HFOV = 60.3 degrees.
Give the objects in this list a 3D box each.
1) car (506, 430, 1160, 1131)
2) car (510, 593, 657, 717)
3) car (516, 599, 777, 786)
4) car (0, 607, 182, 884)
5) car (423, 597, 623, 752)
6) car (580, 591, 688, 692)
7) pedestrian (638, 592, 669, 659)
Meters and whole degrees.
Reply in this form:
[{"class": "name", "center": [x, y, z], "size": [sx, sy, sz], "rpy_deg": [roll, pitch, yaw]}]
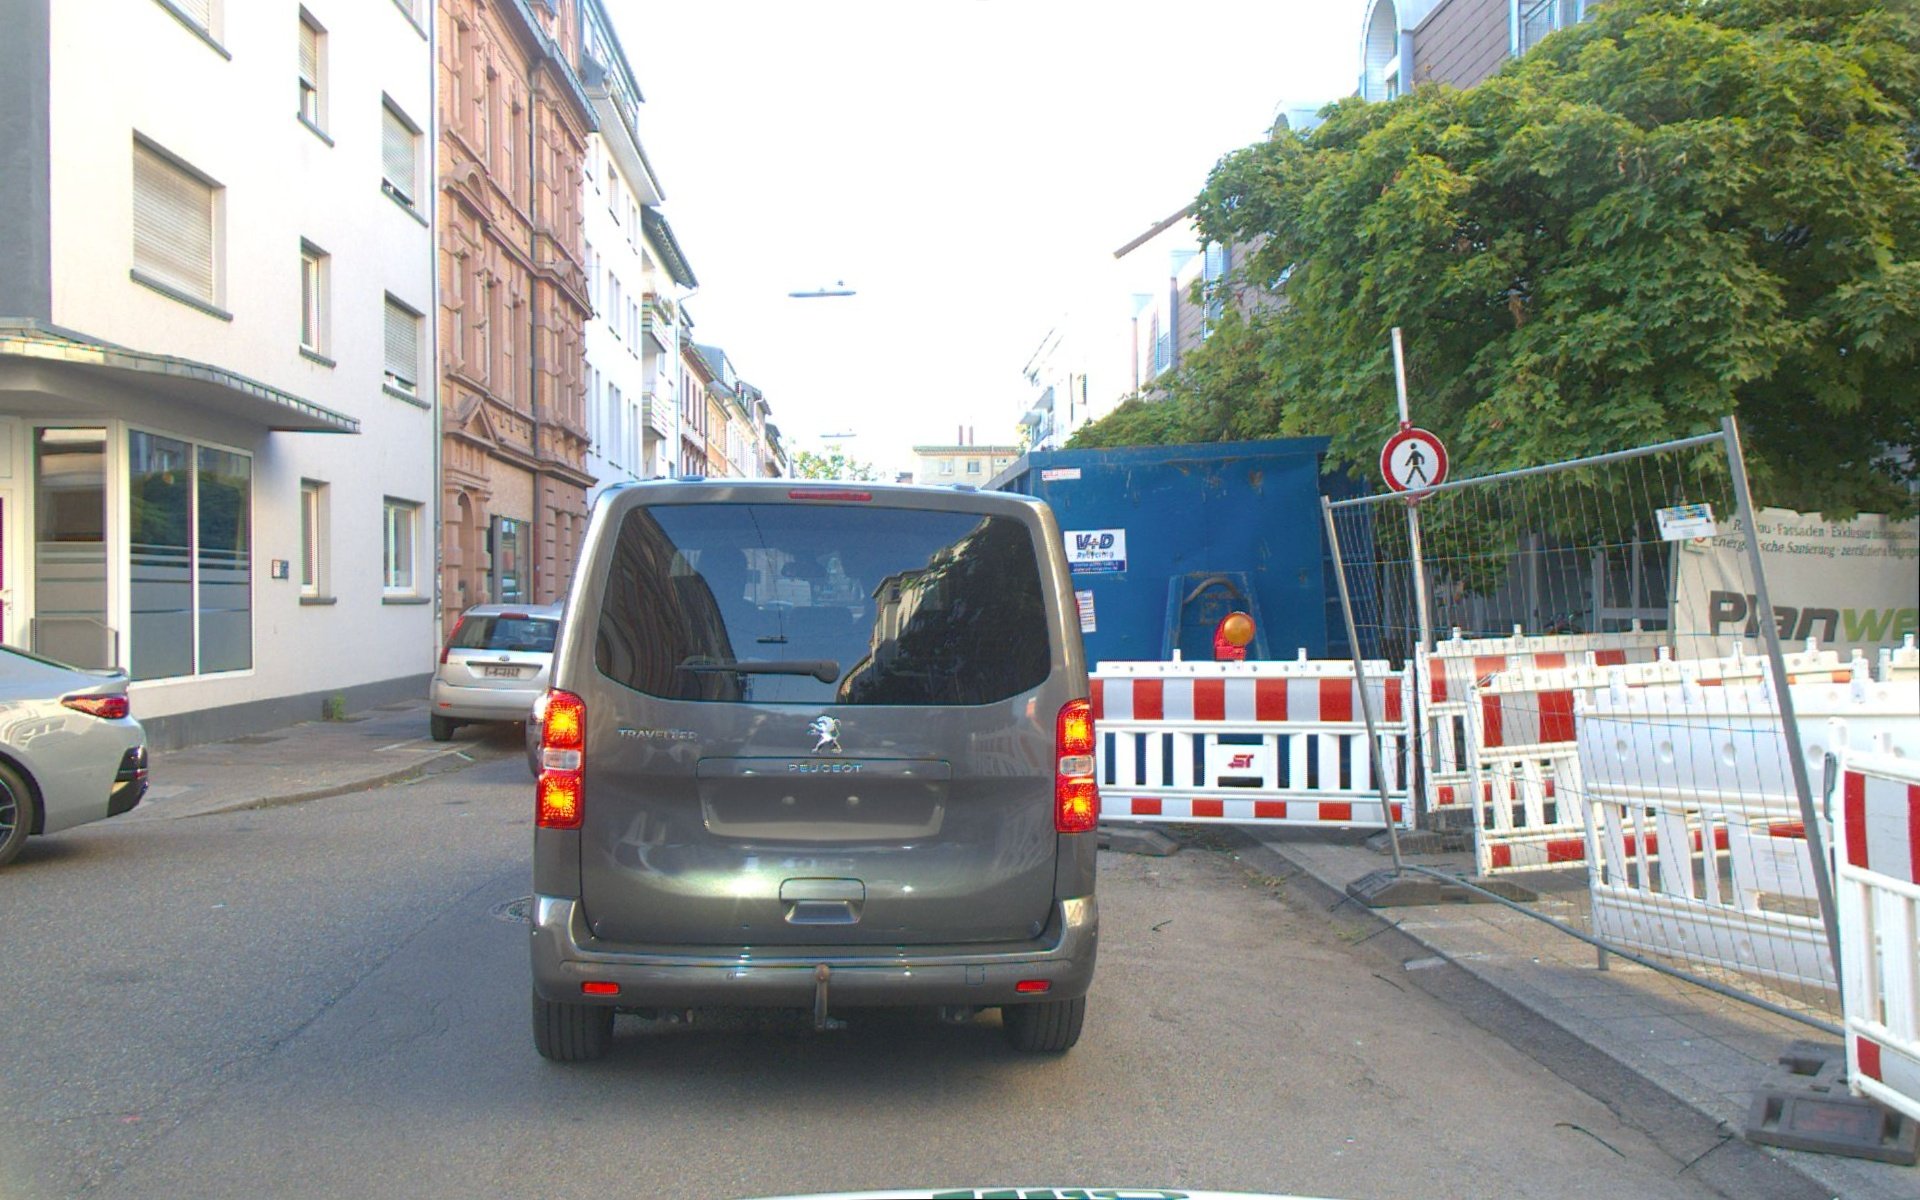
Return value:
[{"class": "car", "center": [-0.578, 0.518, 6.756], "size": [1.829, 1.919, 4.229], "rpy_deg": [0, -1, -7]}, {"class": "car", "center": [-5.383, 0.760, 24.017], "size": [1.625, 1.552, 3.412], "rpy_deg": [4, -1, -7]}, {"class": "car", "center": [-2.749, 0.786, 15.187], "size": [1.622, 1.486, 3.418], "rpy_deg": [-1, -1, 2]}, {"class": "car", "center": [-6.875, 0.804, 8.674], "size": [4.766, 1.477, 1.906], "rpy_deg": [-1, 0, -40]}, {"class": "car", "center": [-4.832, 0.789, 18.718], "size": [1.625, 1.485, 3.412], "rpy_deg": [4, -1, -7]}, {"class": "car", "center": [-6.073, 0.763, 31.087], "size": [1.635, 1.695, 3.087], "rpy_deg": [4, -1, -7]}, {"class": "pedestrian", "center": [-7.826, 0.648, 42.241], "size": [0.726, 1.693, 0.702], "rpy_deg": [-1, 0, -8]}]
